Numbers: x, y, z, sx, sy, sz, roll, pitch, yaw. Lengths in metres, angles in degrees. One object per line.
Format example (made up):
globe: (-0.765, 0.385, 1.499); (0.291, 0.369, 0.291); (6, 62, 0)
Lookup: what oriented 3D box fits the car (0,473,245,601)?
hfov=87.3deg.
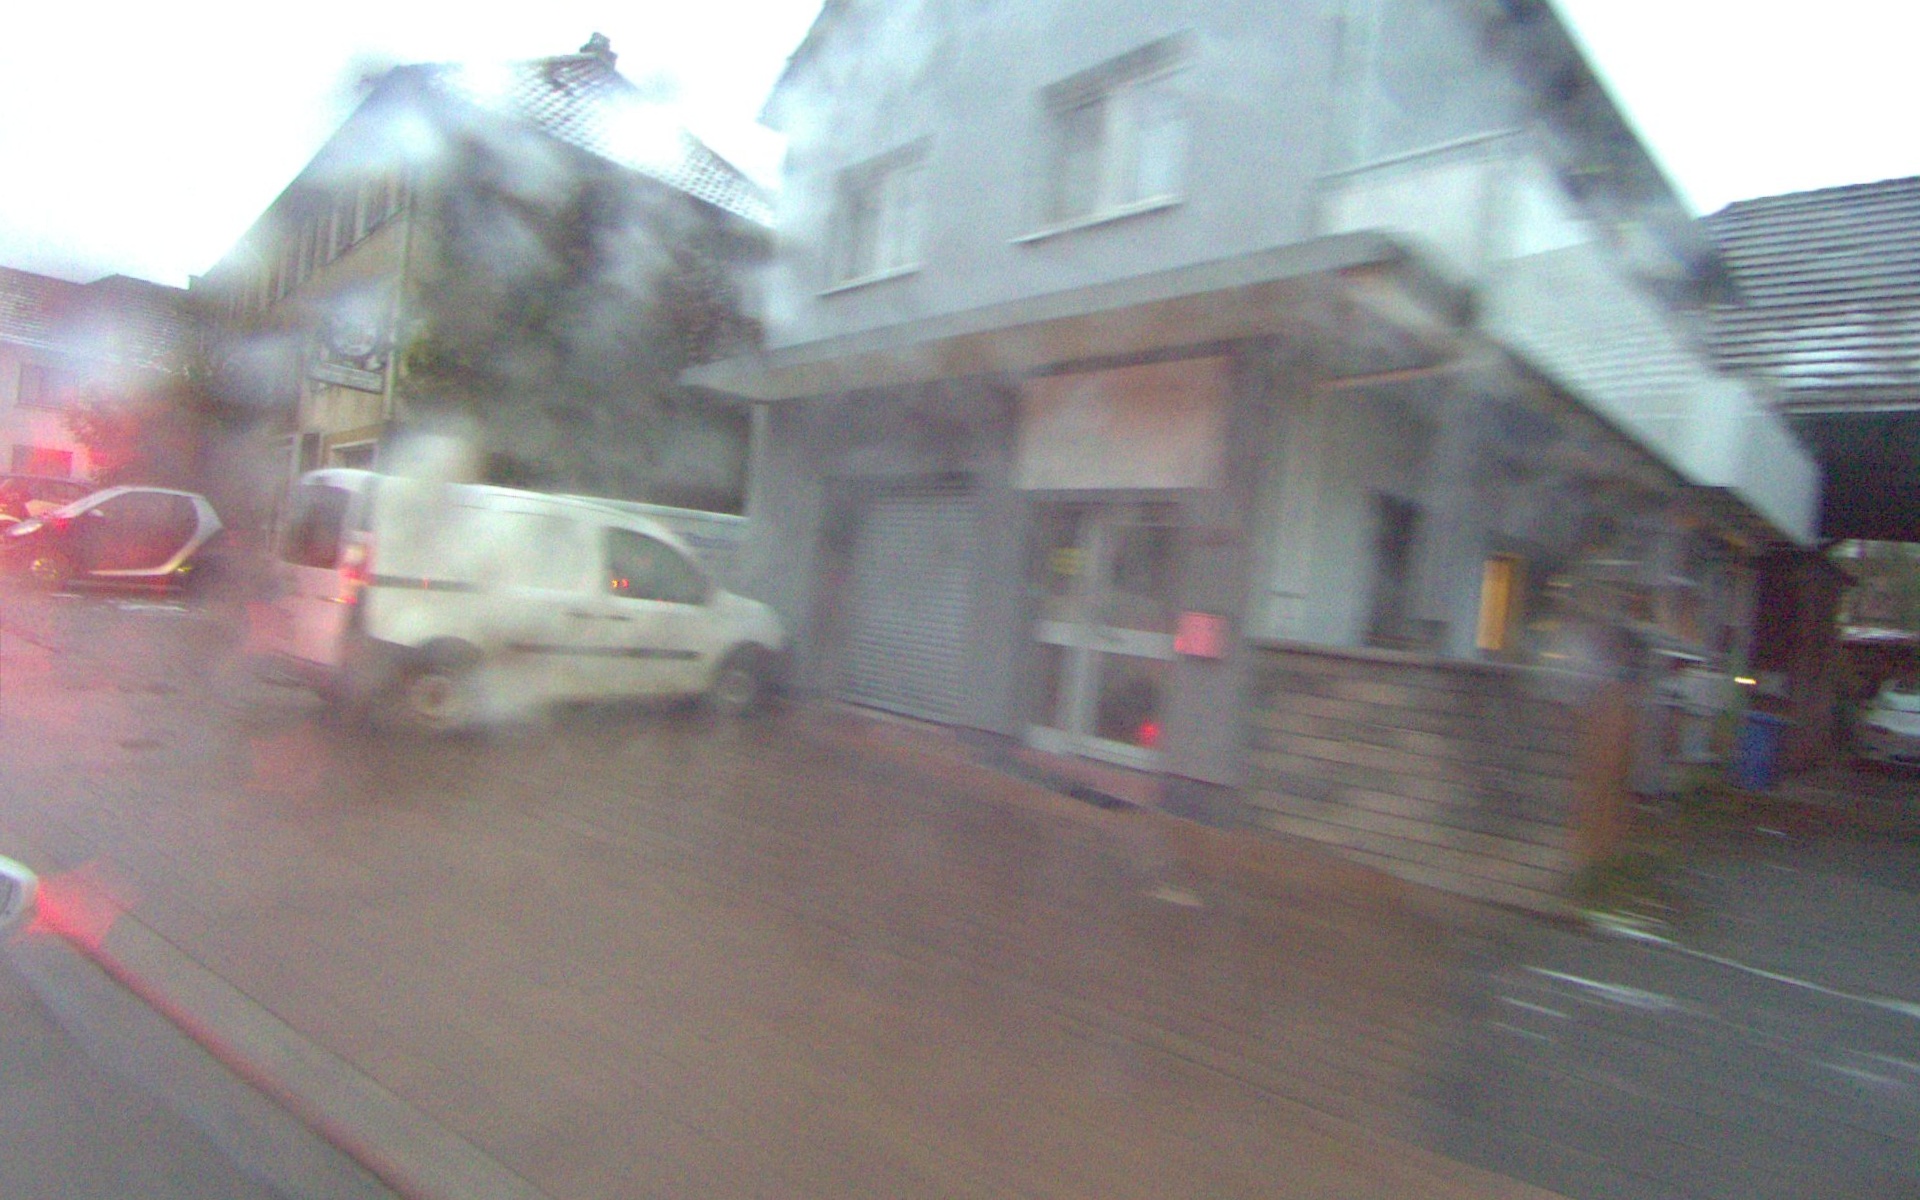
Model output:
car: (-12.108, -0.881, 14.410); (1.407, 1.493, 2.756); (7, 2, 43)

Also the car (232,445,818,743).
car: (-3.361, -0.019, 8.439); (1.836, 1.867, 4.037); (7, 2, 38)

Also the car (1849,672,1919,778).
car: (18.423, 2.359, 19.092); (2.044, 1.625, 4.702); (6, 3, 43)

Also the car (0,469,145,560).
car: (-18.709, -1.787, 20.846); (1.530, 1.567, 2.576); (8, 2, 42)

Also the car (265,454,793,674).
car: (-4.504, -0.269, 11.212); (1.910, 1.914, 4.968); (8, 3, 42)

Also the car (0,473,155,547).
car: (-23.277, -2.344, 25.817); (3.887, 1.493, 1.728); (5, 2, -45)
